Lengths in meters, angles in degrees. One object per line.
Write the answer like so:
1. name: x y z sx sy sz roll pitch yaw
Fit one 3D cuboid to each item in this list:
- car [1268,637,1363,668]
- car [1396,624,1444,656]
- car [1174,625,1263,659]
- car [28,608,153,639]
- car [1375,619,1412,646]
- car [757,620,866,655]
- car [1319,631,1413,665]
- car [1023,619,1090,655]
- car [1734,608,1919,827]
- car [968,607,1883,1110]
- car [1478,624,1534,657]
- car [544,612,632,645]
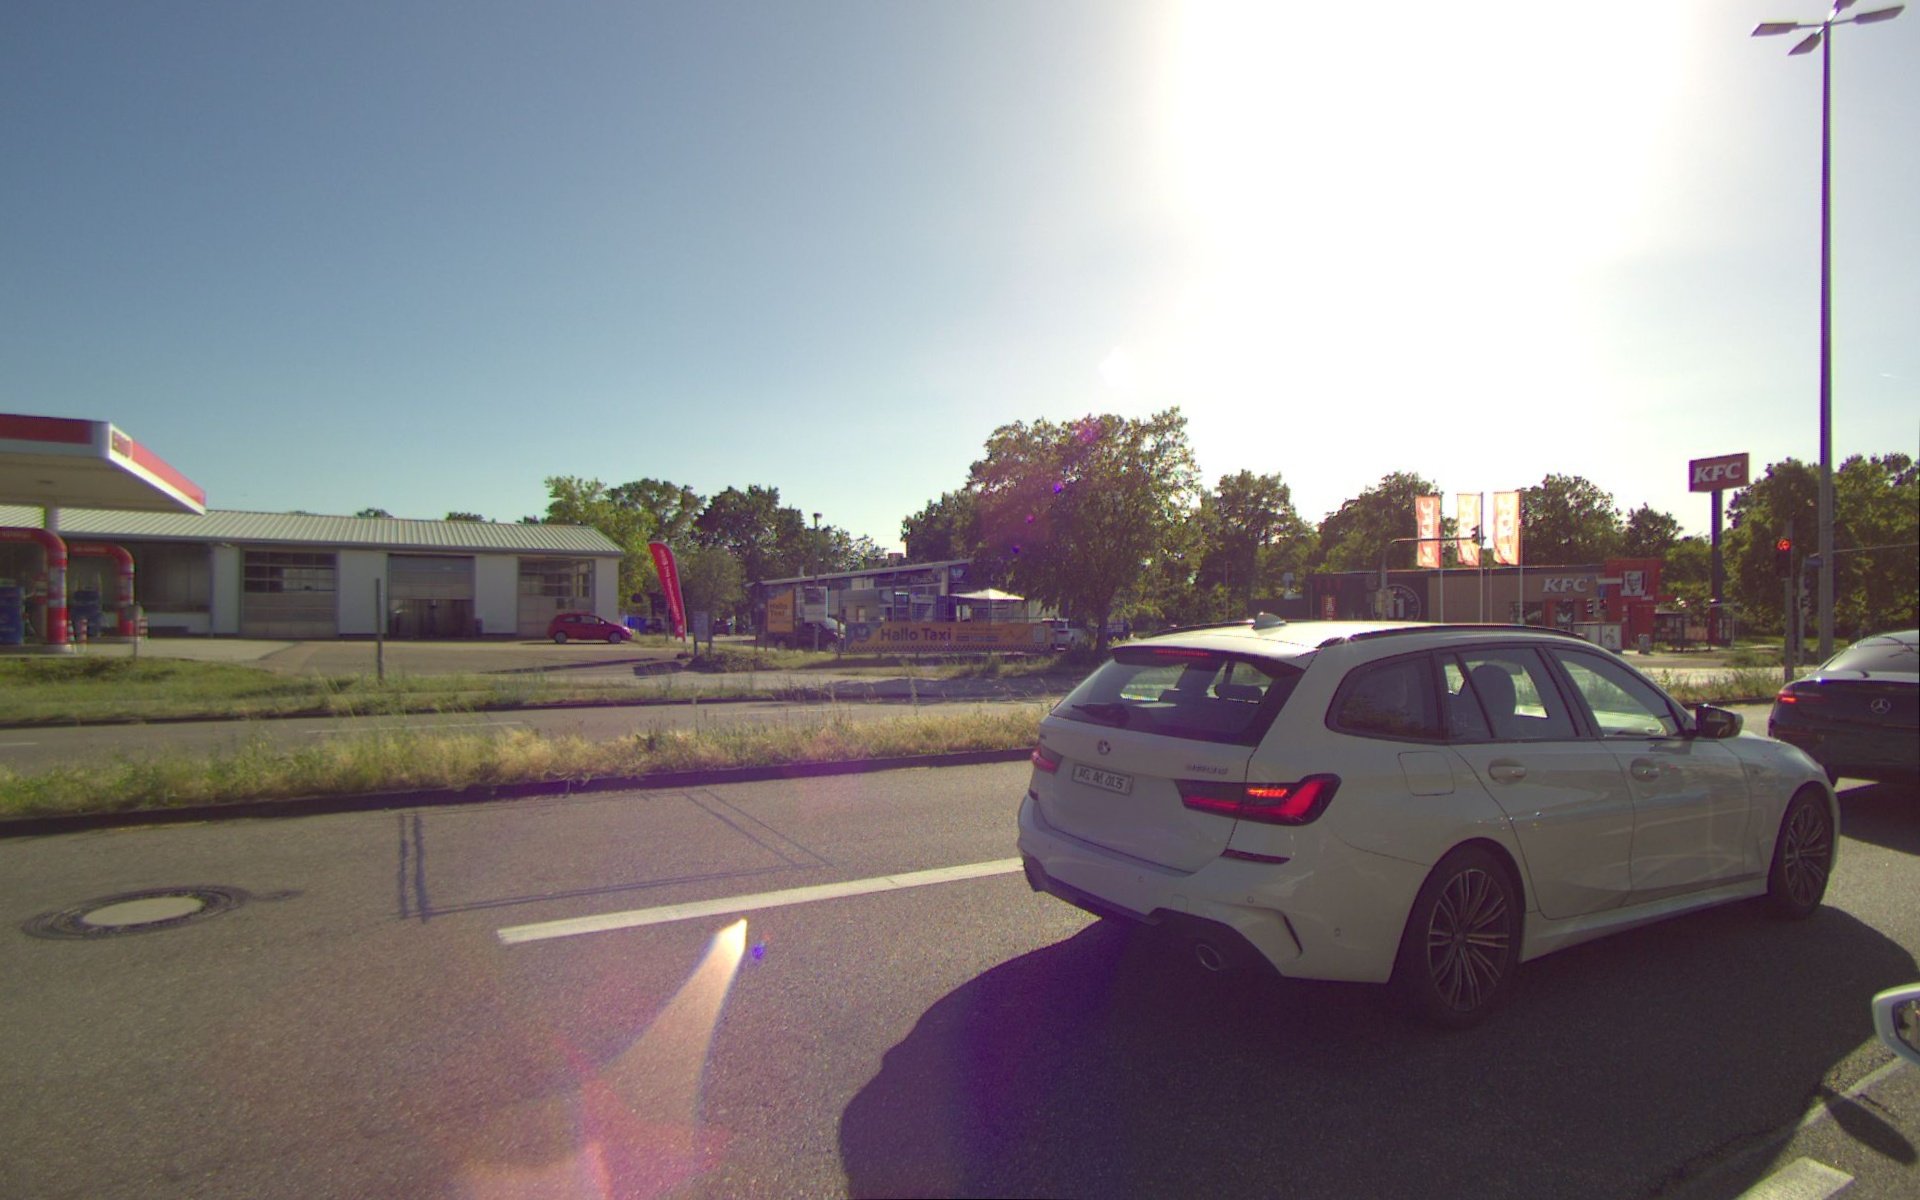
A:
1. car: 17.012 2.493 48.227 1.850 1.268 4.062 2 0 -31
2. car: 28.045 2.422 61.387 1.896 1.763 4.099 2 0 14
3. car: 13.946 2.249 54.445 1.914 1.600 4.599 2 0 -31
4. car: -36.358 0.991 42.128 3.688 1.203 1.667 2 0 -30
5. car: 31.510 2.308 73.147 1.960 1.837 3.774 2 0 16
6. car: -5.795 1.433 39.080 3.930 1.193 1.774 2 0 31
7. car: 20.105 2.343 49.879 1.914 1.472 3.935 2 0 -30
8. car: 4.296 1.588 44.152 1.961 1.461 4.000 2 0 20
9. car: 8.764 0.901 8.657 4.491 1.572 1.803 1 0 -31
10. car: 2.450 0.823 4.946 4.541 1.506 1.804 1 -1 -30
11. car: 32.685 2.396 60.237 1.896 1.763 4.099 2 0 14
12. car: -18.283 1.401 49.337 3.949 1.491 1.521 2 0 -24
